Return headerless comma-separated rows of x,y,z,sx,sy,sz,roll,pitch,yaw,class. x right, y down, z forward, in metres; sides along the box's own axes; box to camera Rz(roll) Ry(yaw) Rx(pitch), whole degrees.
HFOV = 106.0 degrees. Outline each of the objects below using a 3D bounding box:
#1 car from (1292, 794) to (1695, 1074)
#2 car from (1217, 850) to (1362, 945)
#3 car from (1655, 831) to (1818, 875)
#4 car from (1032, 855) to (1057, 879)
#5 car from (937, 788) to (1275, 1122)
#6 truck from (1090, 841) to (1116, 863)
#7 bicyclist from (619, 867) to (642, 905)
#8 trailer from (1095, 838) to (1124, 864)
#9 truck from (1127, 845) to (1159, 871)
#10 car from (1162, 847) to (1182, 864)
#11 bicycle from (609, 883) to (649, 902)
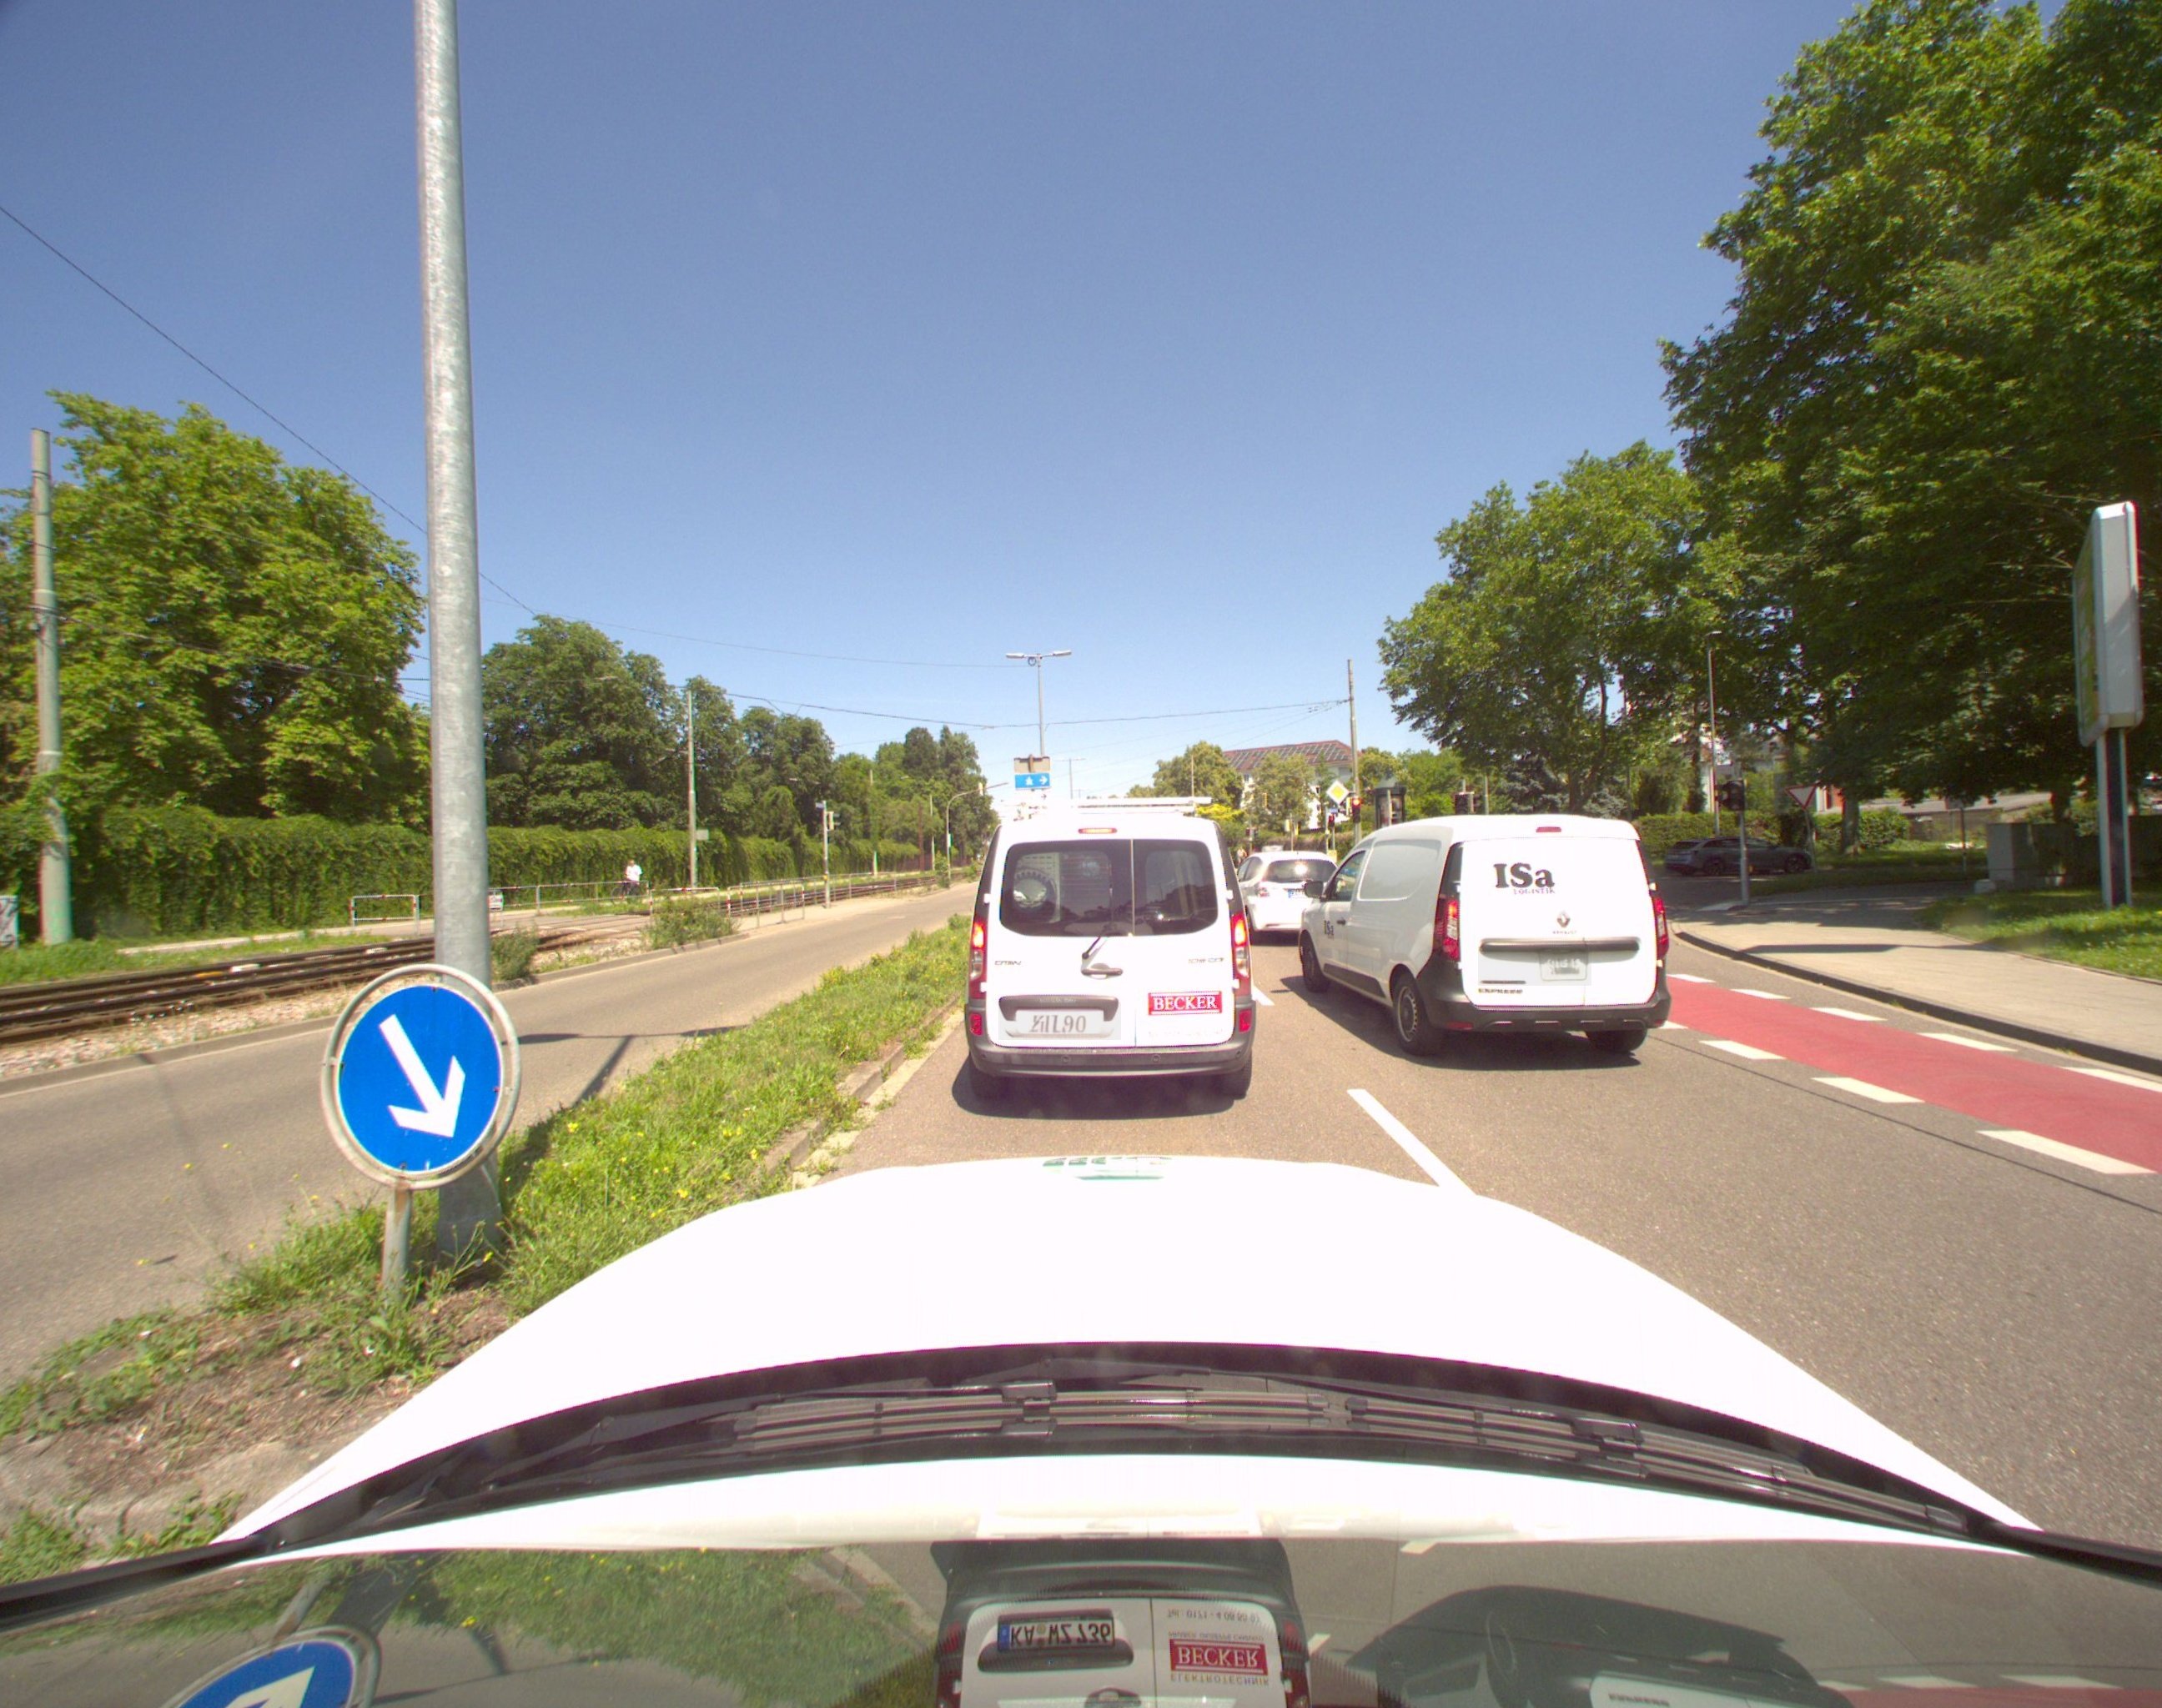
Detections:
3.249,0.534,7.404,1.704,1.830,4.015,-1,0,1,car
3.617,0.691,14.847,1.749,1.486,4.002,0,0,2,car
25.779,-0.033,32.193,4.655,1.525,2.004,-2,0,6,car
-3.225,1.102,72.178,1.987,2.013,3.999,-2,0,0,car
0.177,0.562,6.441,1.860,1.836,3.849,-1,0,1,car
3.802,-0.294,143.365,3.571,3.632,8.790,-2,0,-6,truck
-18.121,1.289,32.741,0.555,1.478,0.562,-2,0,3,bicyclist
4.651,-0.538,134.519,3.523,4.050,8.958,-2,0,-6,trailer
5.397,0.312,69.961,2.287,2.013,6.741,-2,0,7,truck
11.238,0.203,100.719,1.986,2.013,4.002,-2,0,2,car
-18.113,1.531,32.639,0.559,0.647,1.721,-2,0,3,bicycle
